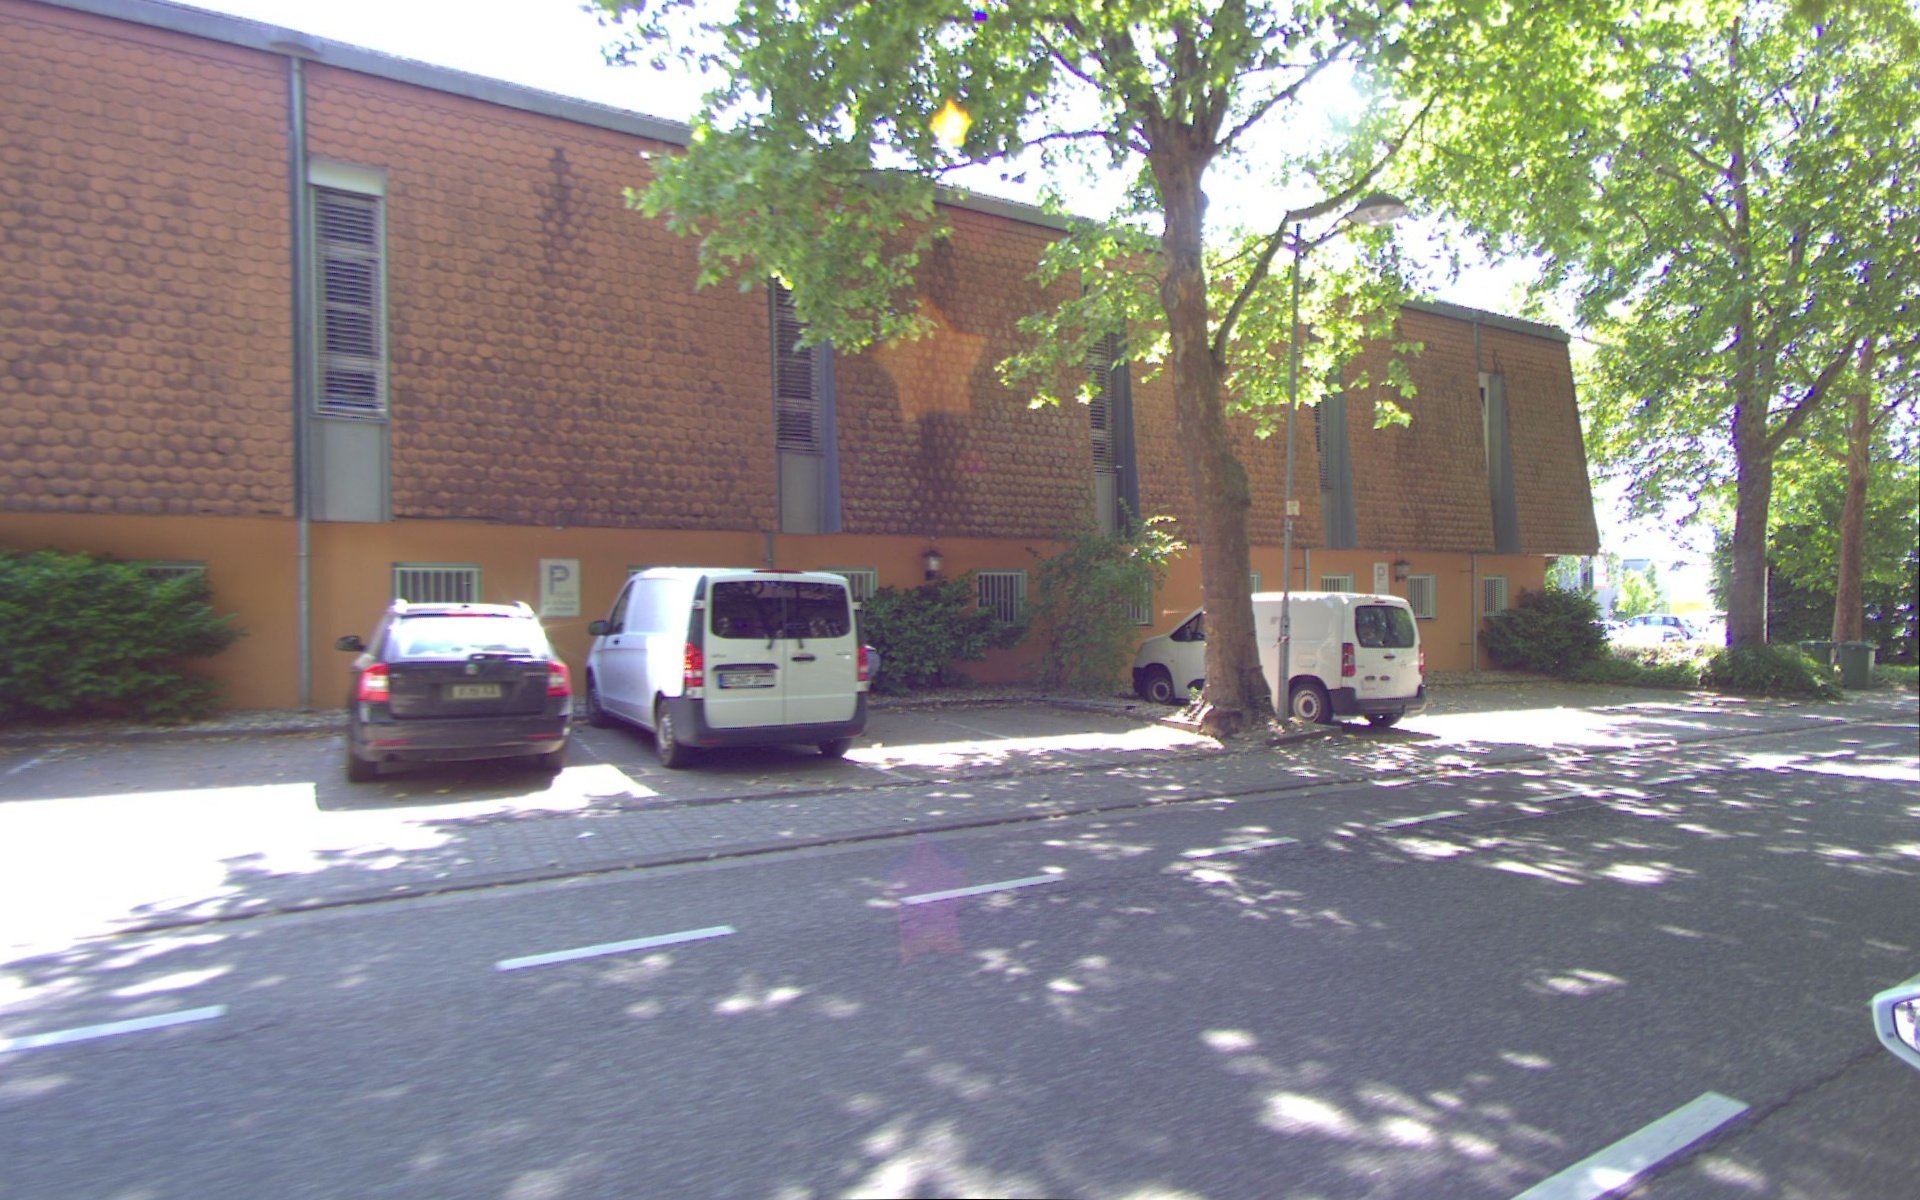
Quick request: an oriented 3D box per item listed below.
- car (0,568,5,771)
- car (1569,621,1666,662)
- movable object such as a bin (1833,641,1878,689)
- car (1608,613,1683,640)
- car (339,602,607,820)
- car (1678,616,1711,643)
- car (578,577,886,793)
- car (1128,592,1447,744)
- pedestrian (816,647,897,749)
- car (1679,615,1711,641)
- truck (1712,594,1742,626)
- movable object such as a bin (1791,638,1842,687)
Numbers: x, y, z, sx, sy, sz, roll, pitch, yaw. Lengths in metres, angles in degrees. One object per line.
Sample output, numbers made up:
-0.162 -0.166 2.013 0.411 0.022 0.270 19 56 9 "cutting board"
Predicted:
-8.366 0.631 6.893 1.848 1.816 3.964 1 0 -32 "car"
34.312 2.127 52.472 3.946 2.040 1.988 -1 -3 45 "car"
20.496 1.475 22.995 0.613 1.062 0.621 1 -1 -30 "movable object such as a bin"
41.985 1.636 61.568 3.711 1.607 1.599 -1 -2 39 "car"
-4.764 0.831 9.511 1.848 1.535 3.964 1 0 -32 "car"
58.505 2.325 79.982 1.969 2.040 3.984 0 -3 38 "car"
-2.674 0.711 10.875 1.882 1.828 4.398 1 0 -32 "car"
4.518 0.831 14.461 1.882 1.828 4.105 1 0 -32 "car"
-1.208 1.106 11.623 0.683 1.095 0.764 1 -1 -30 "pedestrian"
47.880 1.828 65.431 1.581 1.606 3.754 0 -3 38 "car"
75.162 1.048 98.528 2.291 2.930 6.559 0 -2 37 "truck"
20.141 1.460 23.625 0.693 1.092 0.731 1 -1 -30 "movable object such as a bin"
